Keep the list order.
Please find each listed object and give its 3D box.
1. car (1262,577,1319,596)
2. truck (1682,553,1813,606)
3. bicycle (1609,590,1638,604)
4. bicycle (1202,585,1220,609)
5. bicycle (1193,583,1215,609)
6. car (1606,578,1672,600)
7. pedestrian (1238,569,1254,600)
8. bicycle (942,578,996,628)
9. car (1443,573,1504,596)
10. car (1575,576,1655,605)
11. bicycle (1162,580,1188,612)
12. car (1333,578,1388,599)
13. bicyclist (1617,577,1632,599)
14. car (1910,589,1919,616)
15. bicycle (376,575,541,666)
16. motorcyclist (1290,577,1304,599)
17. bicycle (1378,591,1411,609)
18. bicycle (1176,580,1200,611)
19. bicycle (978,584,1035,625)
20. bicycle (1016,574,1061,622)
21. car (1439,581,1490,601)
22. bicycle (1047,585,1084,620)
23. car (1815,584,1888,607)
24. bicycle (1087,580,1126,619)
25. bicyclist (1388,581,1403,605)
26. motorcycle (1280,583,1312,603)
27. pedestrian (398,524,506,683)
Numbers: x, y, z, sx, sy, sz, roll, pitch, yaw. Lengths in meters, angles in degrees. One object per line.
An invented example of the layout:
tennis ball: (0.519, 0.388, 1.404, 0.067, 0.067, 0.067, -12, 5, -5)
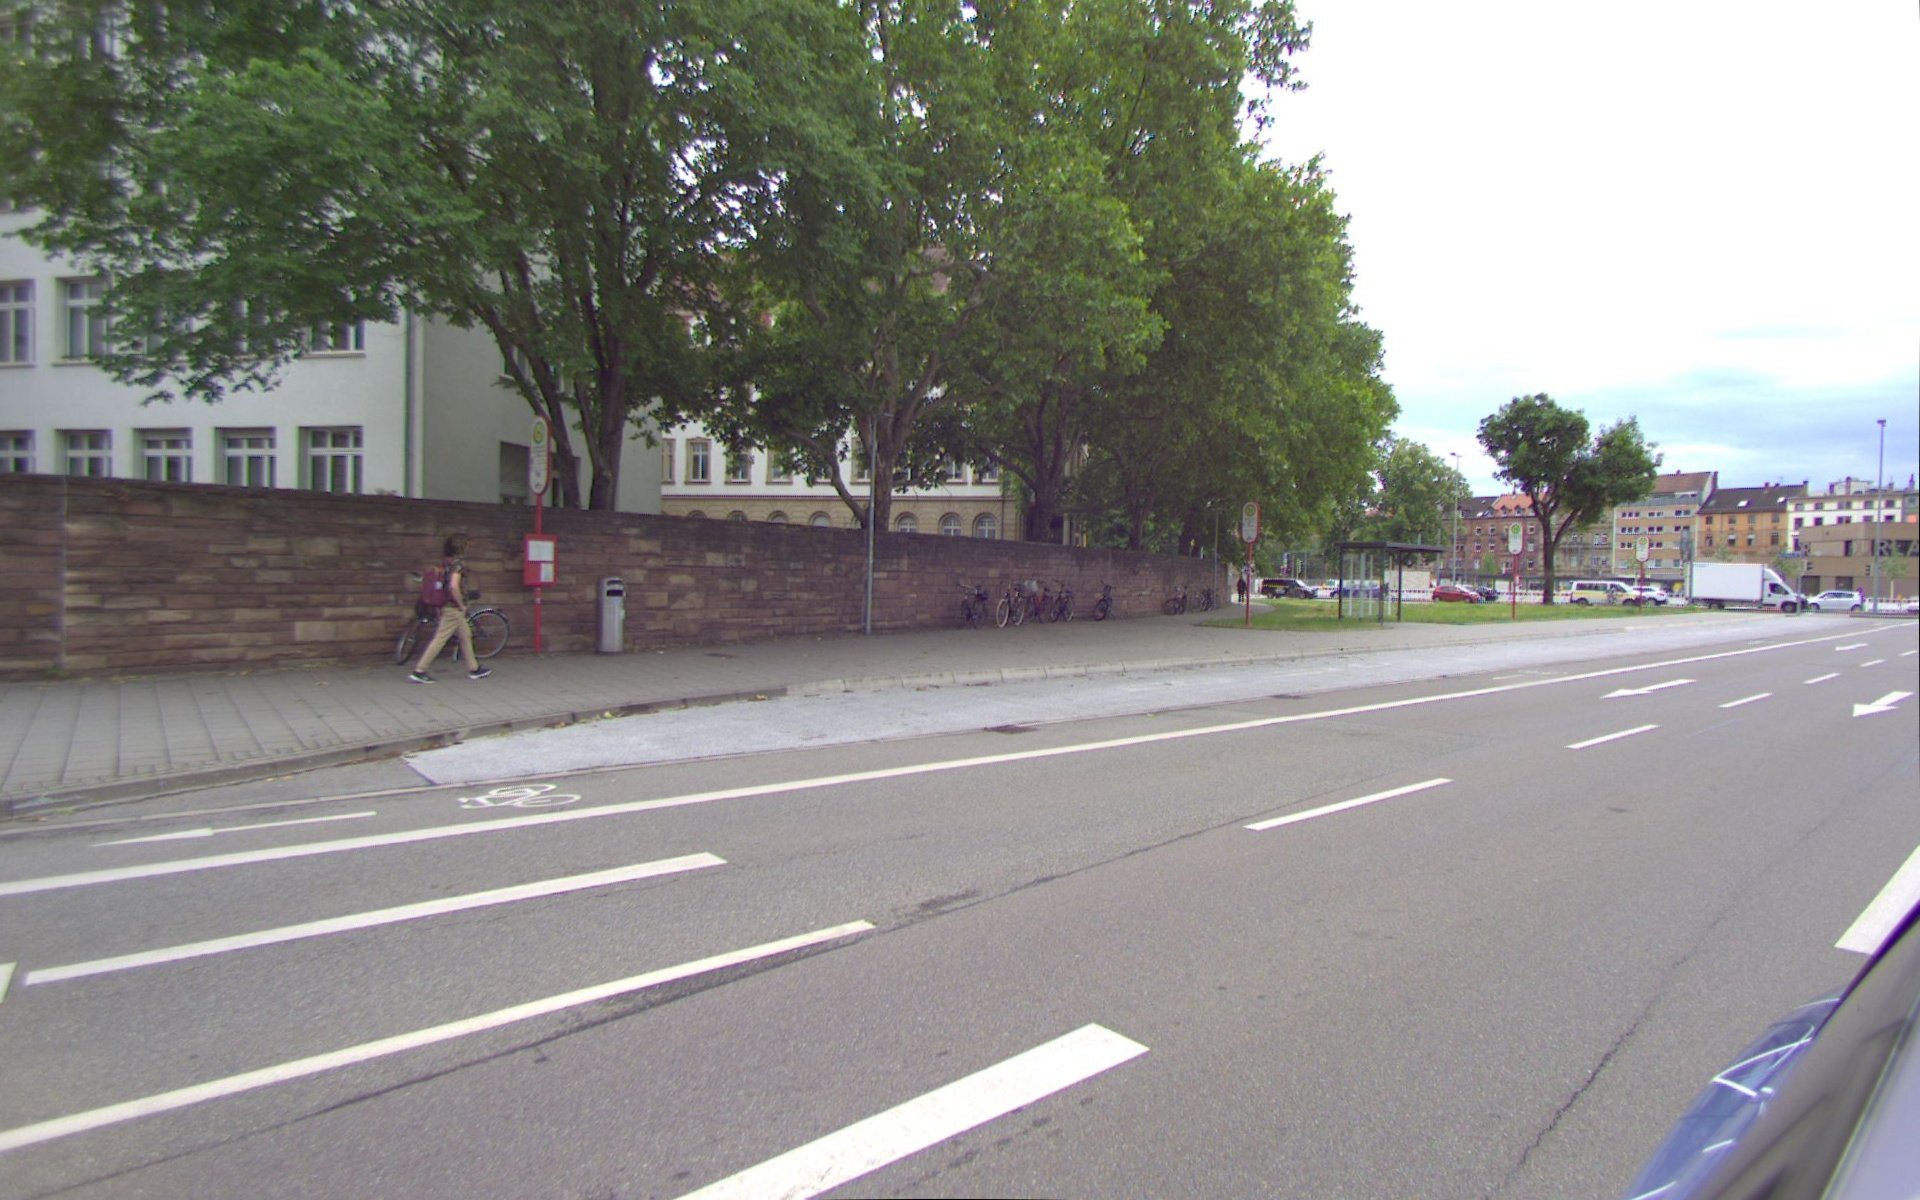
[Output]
car: (30.149, -1.254, 92.342, 4.504, 1.430, 1.874, 4, 3, 36)
truck: (53.716, -1.421, 69.170, 6.835, 3.453, 2.520, 1, 3, 45)
bicycle: (47.341, -0.229, 72.208, 1.687, 0.926, 0.757, 4, 3, 39)
bicycle: (11.001, -0.156, 44.350, 0.544, 1.004, 1.626, 3, 2, 20)
bicycle: (10.315, -0.179, 42.780, 0.589, 1.072, 1.700, 3, 2, 23)
car: (52.211, -0.840, 77.860, 4.018, 1.493, 1.793, 4, 3, 42)
pedestrian: (16.569, -0.895, 58.674, 0.745, 1.756, 0.821, 3, 2, 10)
bicycle: (0.239, 0.051, 24.113, 0.712, 1.113, 1.781, 3, 2, 20)
car: (43.610, -1.326, 85.954, 1.659, 1.657, 4.284, 1, 3, -38)
car: (48.315, -0.722, 74.713, 1.890, 1.942, 4.704, -4, 4, -44)
bicycle: (8.122, -0.160, 38.153, 0.589, 1.150, 1.700, 3, 2, 23)
car: (37.205, -1.068, 94.030, 4.417, 1.767, 1.737, 4, 3, 43)
bicyclist: (47.403, -0.871, 72.169, 0.737, 1.526, 0.757, 4, 2, 39)
car: (67.399, 0.275, 68.703, 3.843, 1.785, 1.837, 3, 2, 6)
bicycle: (-6.958, 0.244, 14.125, 0.845, 1.141, 1.900, 4, 3, 34)
motorcyclist: (30.028, -1.078, 90.193, 0.913, 1.851, 0.917, 4, 2, 37)
bicycle: (36.083, -0.036, 84.052, 2.384, 1.340, 0.753, 4, 3, 44)
bicycle: (8.935, -0.199, 39.673, 0.589, 1.143, 1.700, 3, 2, 23)
bicycle: (1.197, 0.097, 25.751, 0.650, 0.963, 1.751, 3, 2, 31)
bicycle: (2.119, -0.071, 27.304, 0.497, 1.236, 1.609, 3, 2, 31)
car: (41.185, -0.757, 82.681, 3.422, 1.399, 1.266, 2, -6, 44)
bicycle: (3.002, 0.049, 28.773, 0.414, 0.954, 1.508, 3, 2, 31)
car: (61.469, -0.333, 69.818, 3.399, 1.407, 1.505, 4, 2, 27)
bicycle: (4.433, -0.039, 30.613, 0.593, 1.118, 1.638, 3, 2, 29)
bicyclist: (36.157, -0.577, 83.992, 0.893, 1.883, 0.753, 4, 3, 43)
motorcycle: (29.941, -0.606, 90.279, 2.501, 1.621, 0.917, 4, 3, 37)
pedestrian: (-6.161, 0.028, 12.281, 1.014, 1.844, 0.632, 1, 2, -41)
